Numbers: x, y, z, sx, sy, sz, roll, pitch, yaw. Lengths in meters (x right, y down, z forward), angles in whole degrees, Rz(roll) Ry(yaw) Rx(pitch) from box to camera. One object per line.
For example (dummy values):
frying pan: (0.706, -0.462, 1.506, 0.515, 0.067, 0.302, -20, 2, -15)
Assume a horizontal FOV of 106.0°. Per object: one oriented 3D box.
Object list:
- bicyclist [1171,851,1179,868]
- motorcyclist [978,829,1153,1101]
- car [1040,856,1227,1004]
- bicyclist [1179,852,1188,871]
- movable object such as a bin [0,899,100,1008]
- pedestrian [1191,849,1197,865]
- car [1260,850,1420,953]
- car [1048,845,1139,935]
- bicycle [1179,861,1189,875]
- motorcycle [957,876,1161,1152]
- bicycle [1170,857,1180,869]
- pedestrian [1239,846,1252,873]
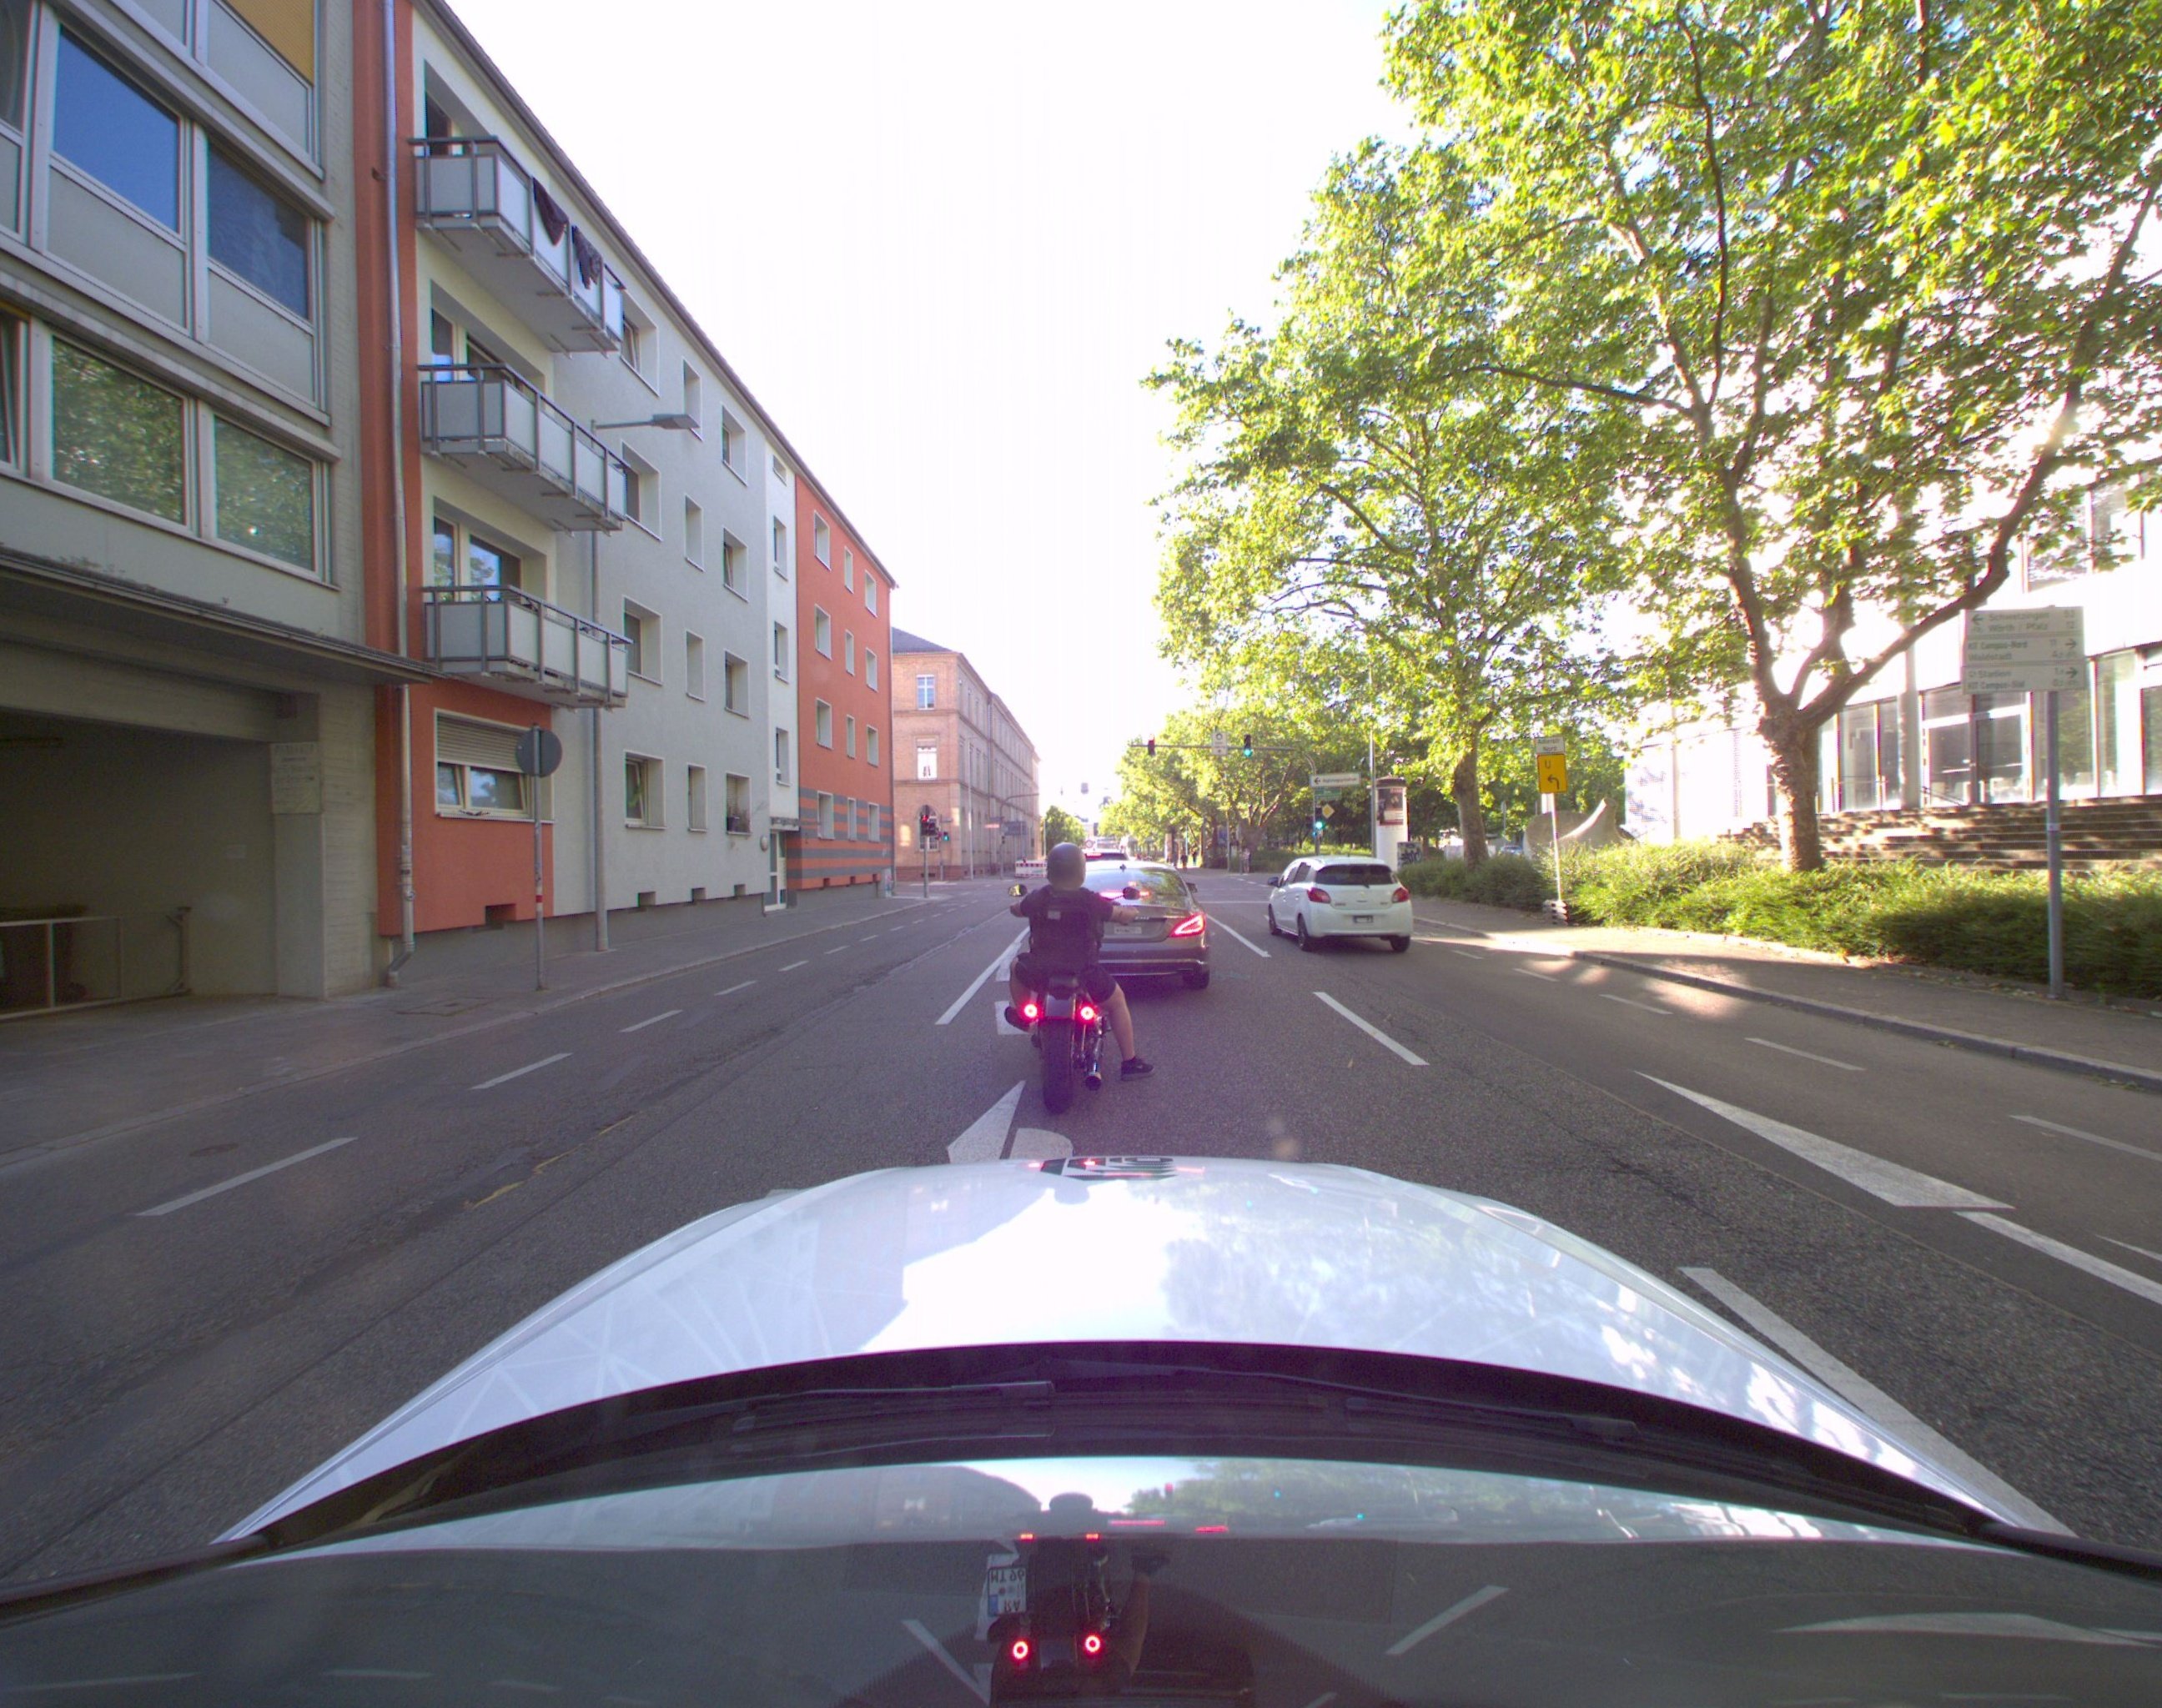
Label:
bicyclist: (8.565, 0.490, 74.218, 0.653, 1.530, 0.906, 0, -1, 1)
motorcyclist: (-0.073, 0.662, 5.570, 1.008, 1.602, 1.406, -1, 0, 1)
car: (0.568, 0.751, 9.902, 1.821, 1.420, 3.816, -1, 0, 2)
bicyclist: (8.145, 0.603, 64.615, 0.653, 1.530, 0.852, 0, -1, 1)
movable object such as a bin: (-11.220, 1.053, 8.770, 0.487, 1.088, 0.654, -1, 0, 1)
pedestrian: (11.599, 0.305, 83.561, 0.590, 1.578, 0.527, 0, -1, 2)
car: (4.182, 0.705, 13.739, 1.672, 1.498, 3.687, 0, 0, 2)
car: (0.155, 0.677, 17.024, 1.627, 1.650, 3.845, 0, 0, -4)
bicycle: (8.152, 1.091, 64.528, 0.653, 1.070, 1.927, 0, 0, 2)
motorcycle: (-0.072, 0.847, 5.464, 1.008, 1.306, 2.673, -1, 0, 2)
bicycle: (8.562, 0.810, 74.229, 0.653, 1.111, 2.186, 0, 0, 2)
pedestrian: (10.758, 0.358, 53.223, 0.574, 1.774, 0.619, 1, -1, -33)
